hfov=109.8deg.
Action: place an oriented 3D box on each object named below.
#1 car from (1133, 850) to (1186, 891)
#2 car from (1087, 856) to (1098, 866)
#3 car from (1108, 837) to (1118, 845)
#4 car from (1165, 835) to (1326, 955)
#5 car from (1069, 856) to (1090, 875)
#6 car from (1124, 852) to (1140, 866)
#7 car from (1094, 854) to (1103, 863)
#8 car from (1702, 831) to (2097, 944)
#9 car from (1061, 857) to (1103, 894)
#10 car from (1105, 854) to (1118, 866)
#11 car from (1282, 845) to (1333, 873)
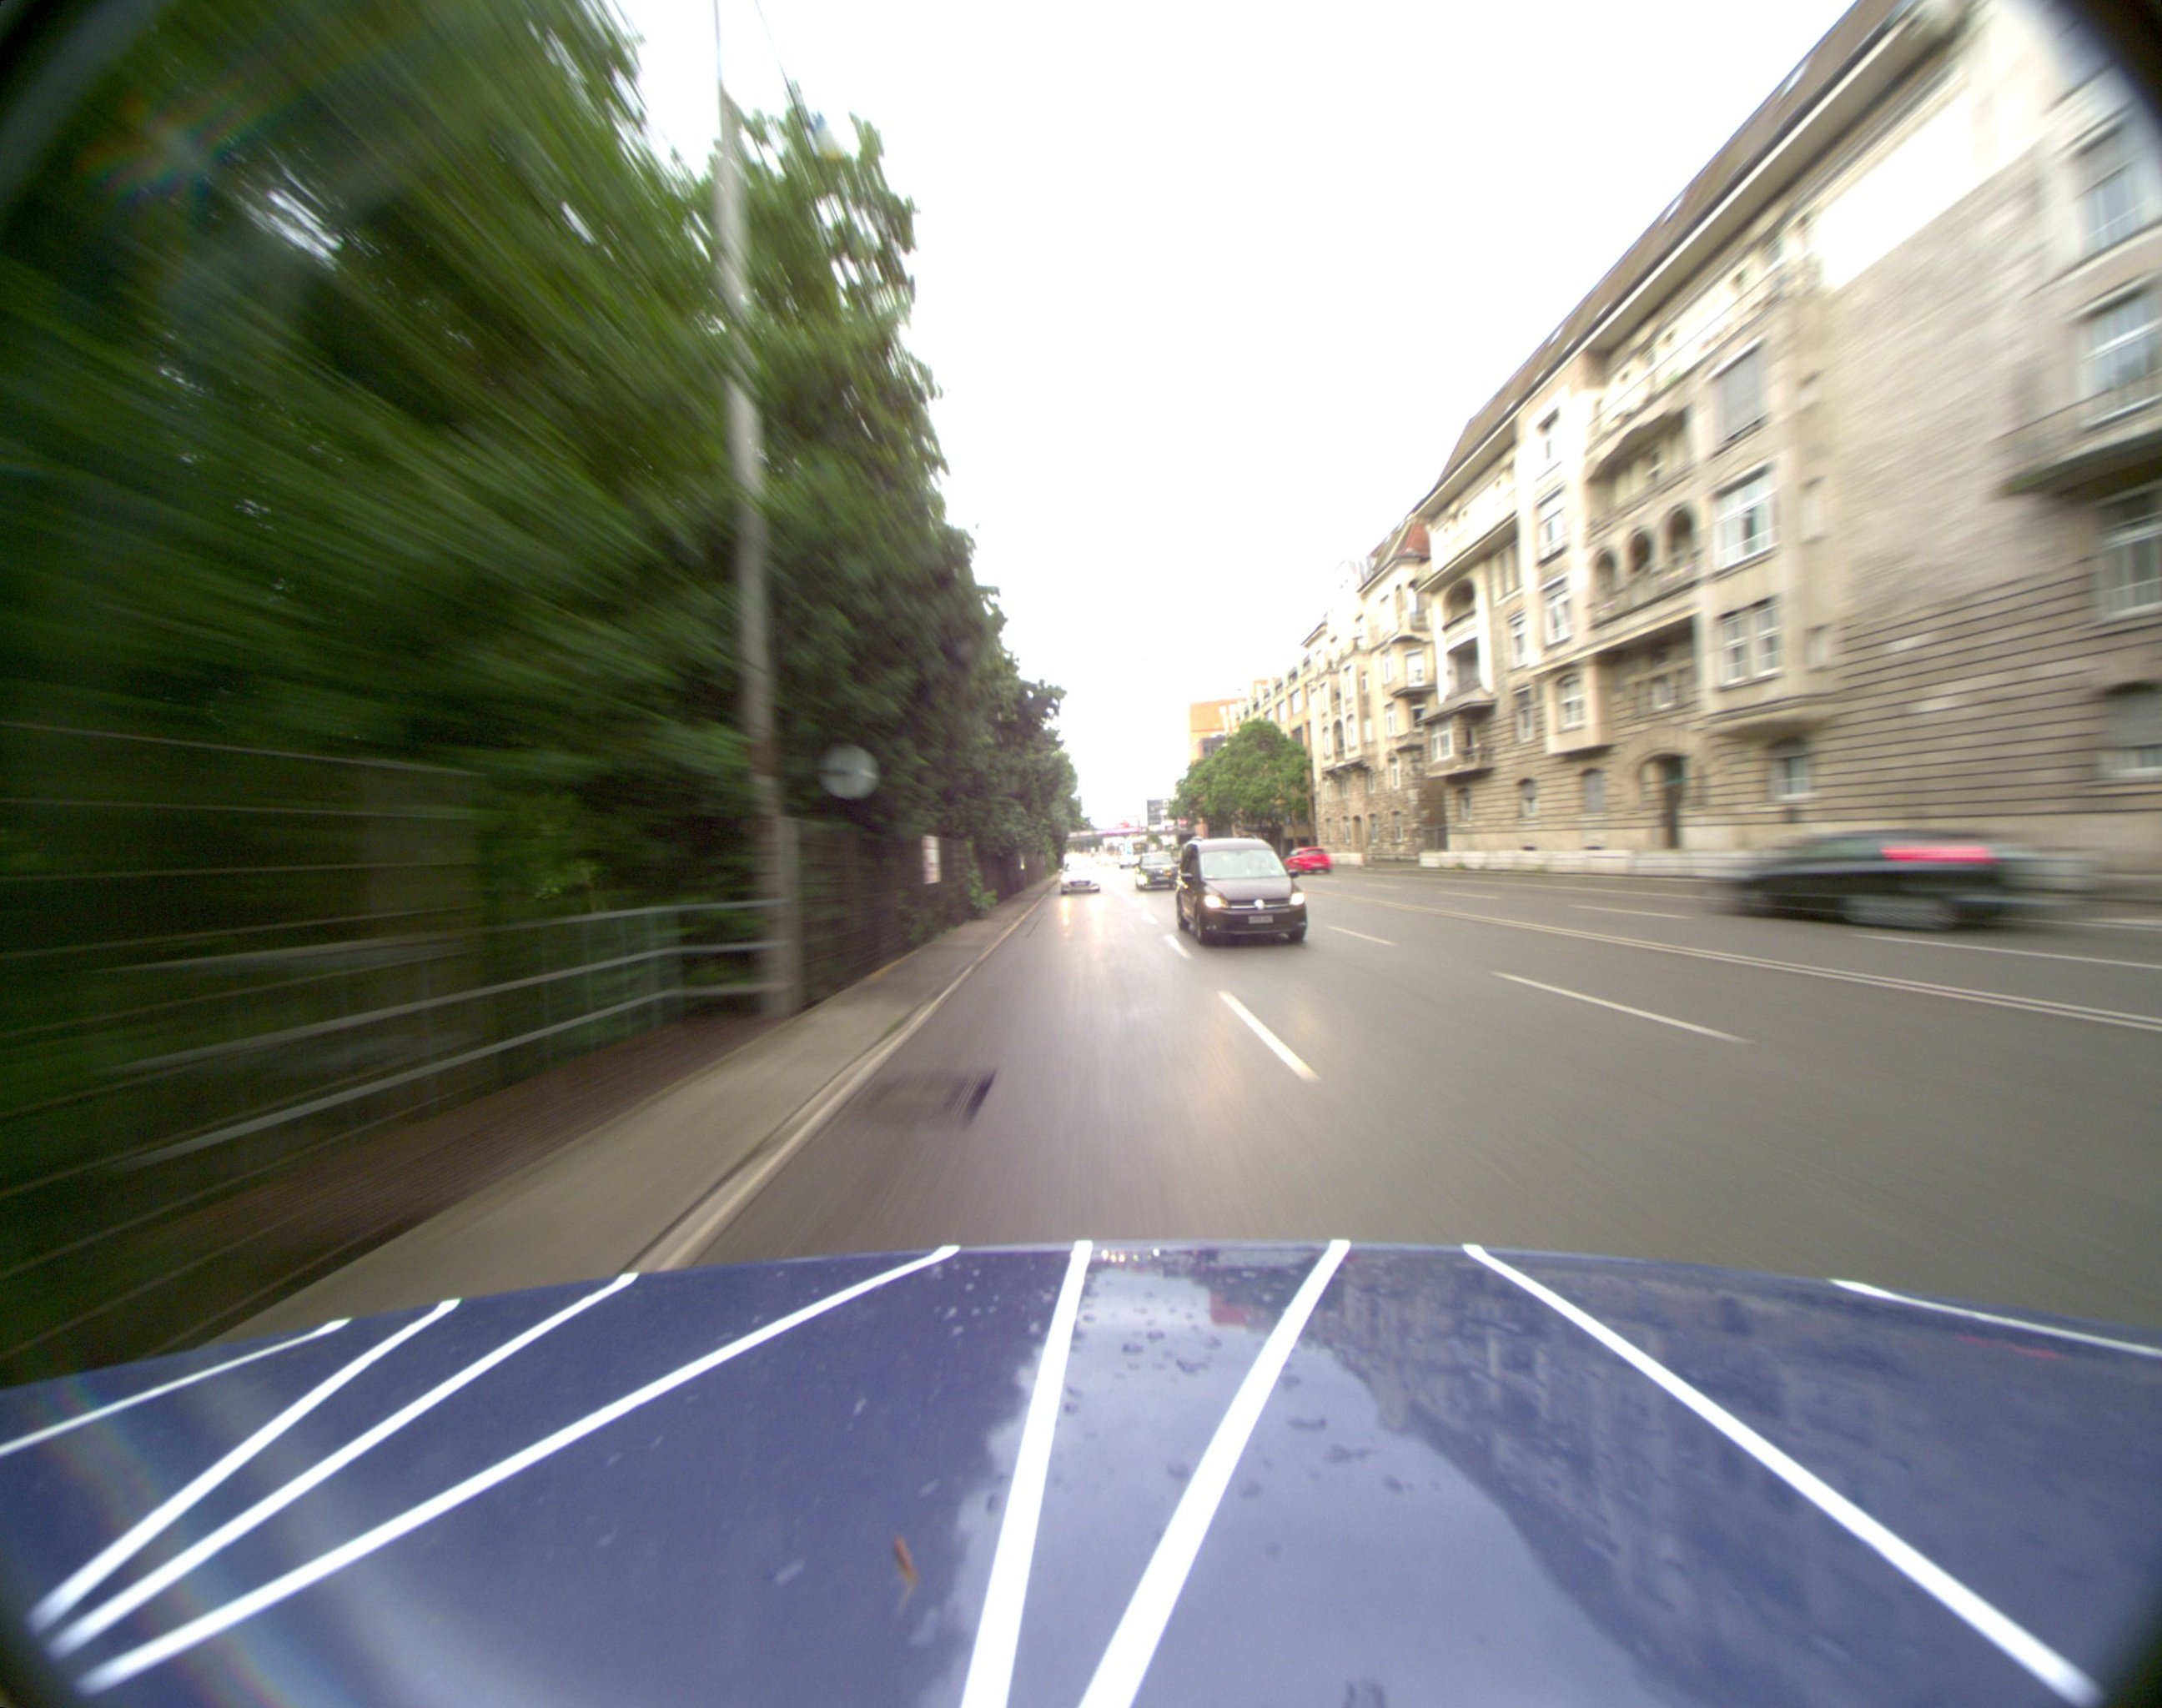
[{"bbox_3d":[3.399,0.675,33.745,1.731,1.604,3.999,-5,0,-1],"label":"car"},{"bbox_3d":[2.199,1.348,146.589,1.878,1.762,3.999,-6,1,0],"label":"car"},{"bbox_3d":[6.832,-2.754,163.209,1.824,1.602,4.000,-5,1,5],"label":"car"},{"bbox_3d":[2.771,0.646,13.772,1.842,1.780,3.999,-3,0,-2],"label":"car"},{"bbox_3d":[-0.127,1.068,73.009,1.801,1.587,3.999,-5,1,2],"label":"car"},{"bbox_3d":[6.010,0.600,89.990,1.731,1.502,3.732,-5,0,4],"label":"car"},{"bbox_3d":[4.111,1.010,178.870,1.878,1.762,3.999,-6,1,0],"label":"car"},{"bbox_3d":[11.938,0.419,11.546,1.705,1.331,3.914,-3,0,-1],"label":"car"},{"bbox_3d":[0.000,0.937,35.078,1.731,1.431,3.999,-5,0,-1],"label":"car"},{"bbox_3d":[5.358,1.061,134.295,1.878,1.762,3.999,-6,1,0],"label":"car"},{"bbox_3d":[12.444,0.244,41.952,1.584,1.406,3.961,-3,0,0],"label":"car"}]
